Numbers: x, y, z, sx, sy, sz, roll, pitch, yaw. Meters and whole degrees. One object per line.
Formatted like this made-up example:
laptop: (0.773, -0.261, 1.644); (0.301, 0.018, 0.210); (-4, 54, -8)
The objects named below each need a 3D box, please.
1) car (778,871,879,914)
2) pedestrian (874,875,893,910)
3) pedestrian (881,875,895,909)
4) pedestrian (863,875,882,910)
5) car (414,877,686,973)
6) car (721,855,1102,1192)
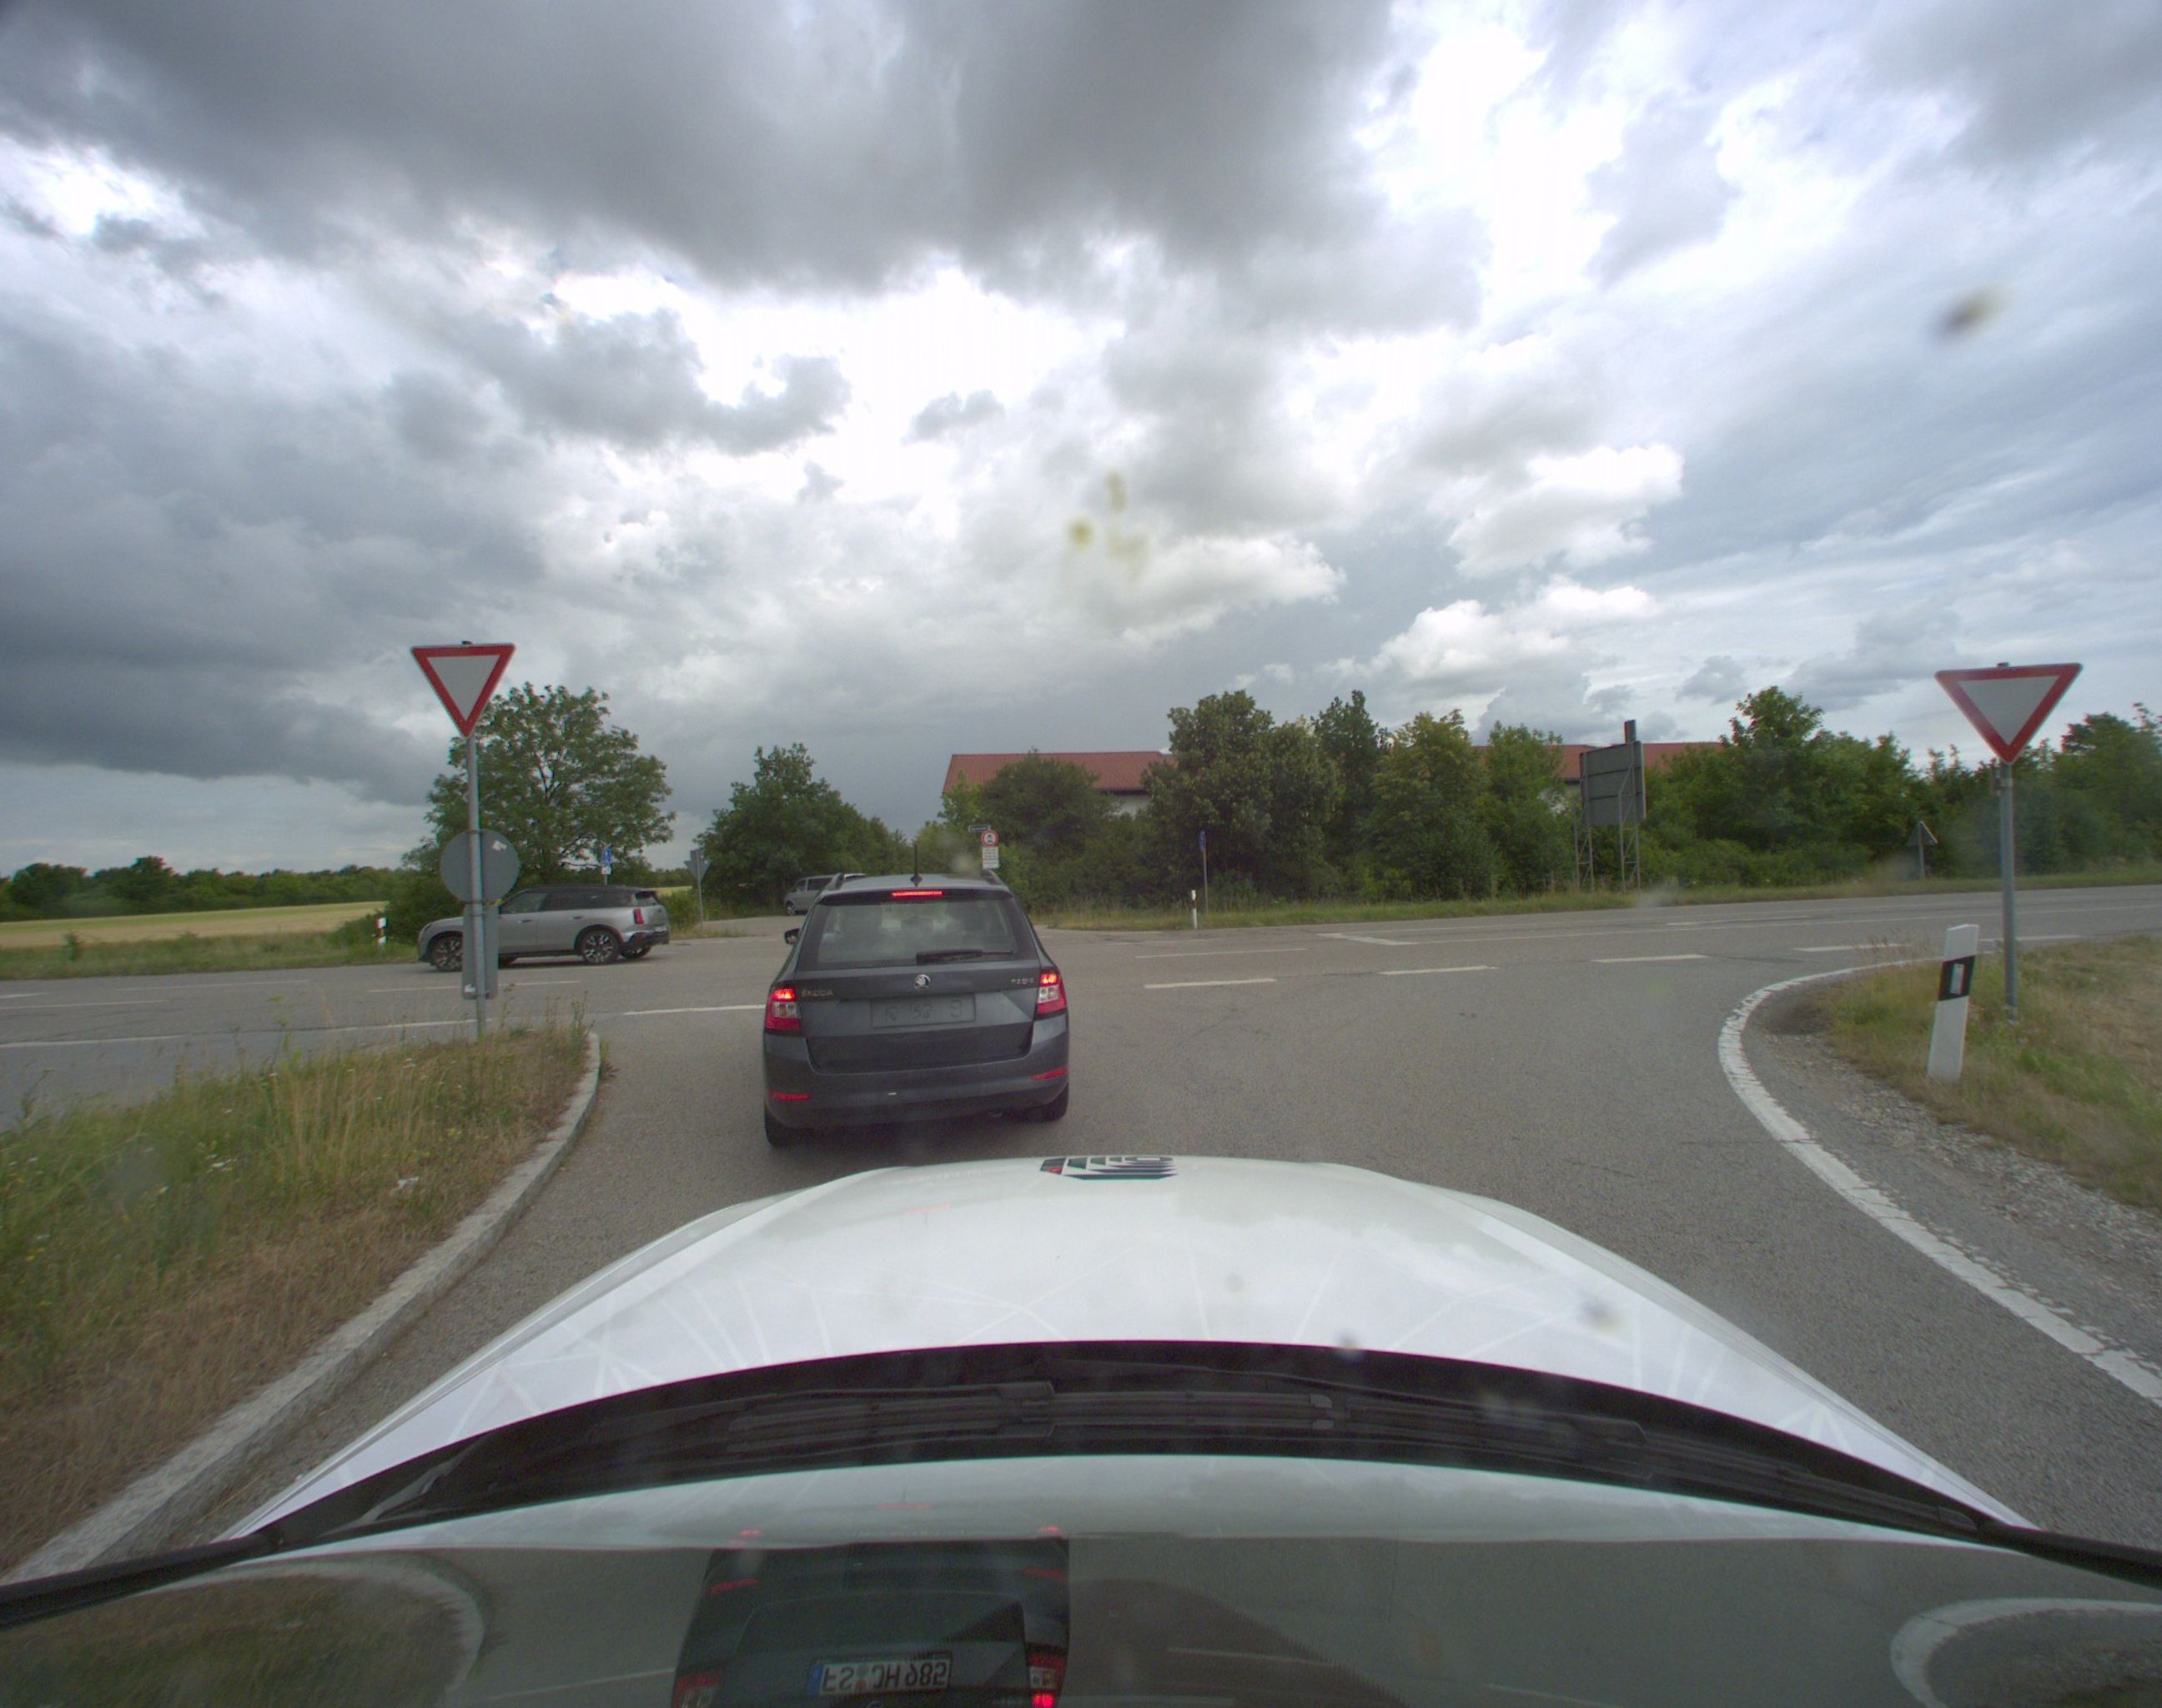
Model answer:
car: (-12.798, 1.970, 41.171); (5.034, 1.886, 2.127); (-4, -1, 34)
pedestrian: (-9.845, 1.916, 40.697); (0.722, 1.723, 0.791); (-2, -1, -3)
pedestrian: (-10.001, 1.967, 42.221); (0.488, 1.746, 0.642); (-2, -1, -3)
pedestrian: (-10.570, 1.951, 41.356); (0.698, 1.723, 0.733); (-2, -1, 1)
car: (-10.853, 1.433, 16.959); (4.245, 1.624, 1.994); (-3, -3, -8)
car: (-1.191, 0.782, 5.789); (1.715, 1.447, 4.098); (-1, -1, -13)
